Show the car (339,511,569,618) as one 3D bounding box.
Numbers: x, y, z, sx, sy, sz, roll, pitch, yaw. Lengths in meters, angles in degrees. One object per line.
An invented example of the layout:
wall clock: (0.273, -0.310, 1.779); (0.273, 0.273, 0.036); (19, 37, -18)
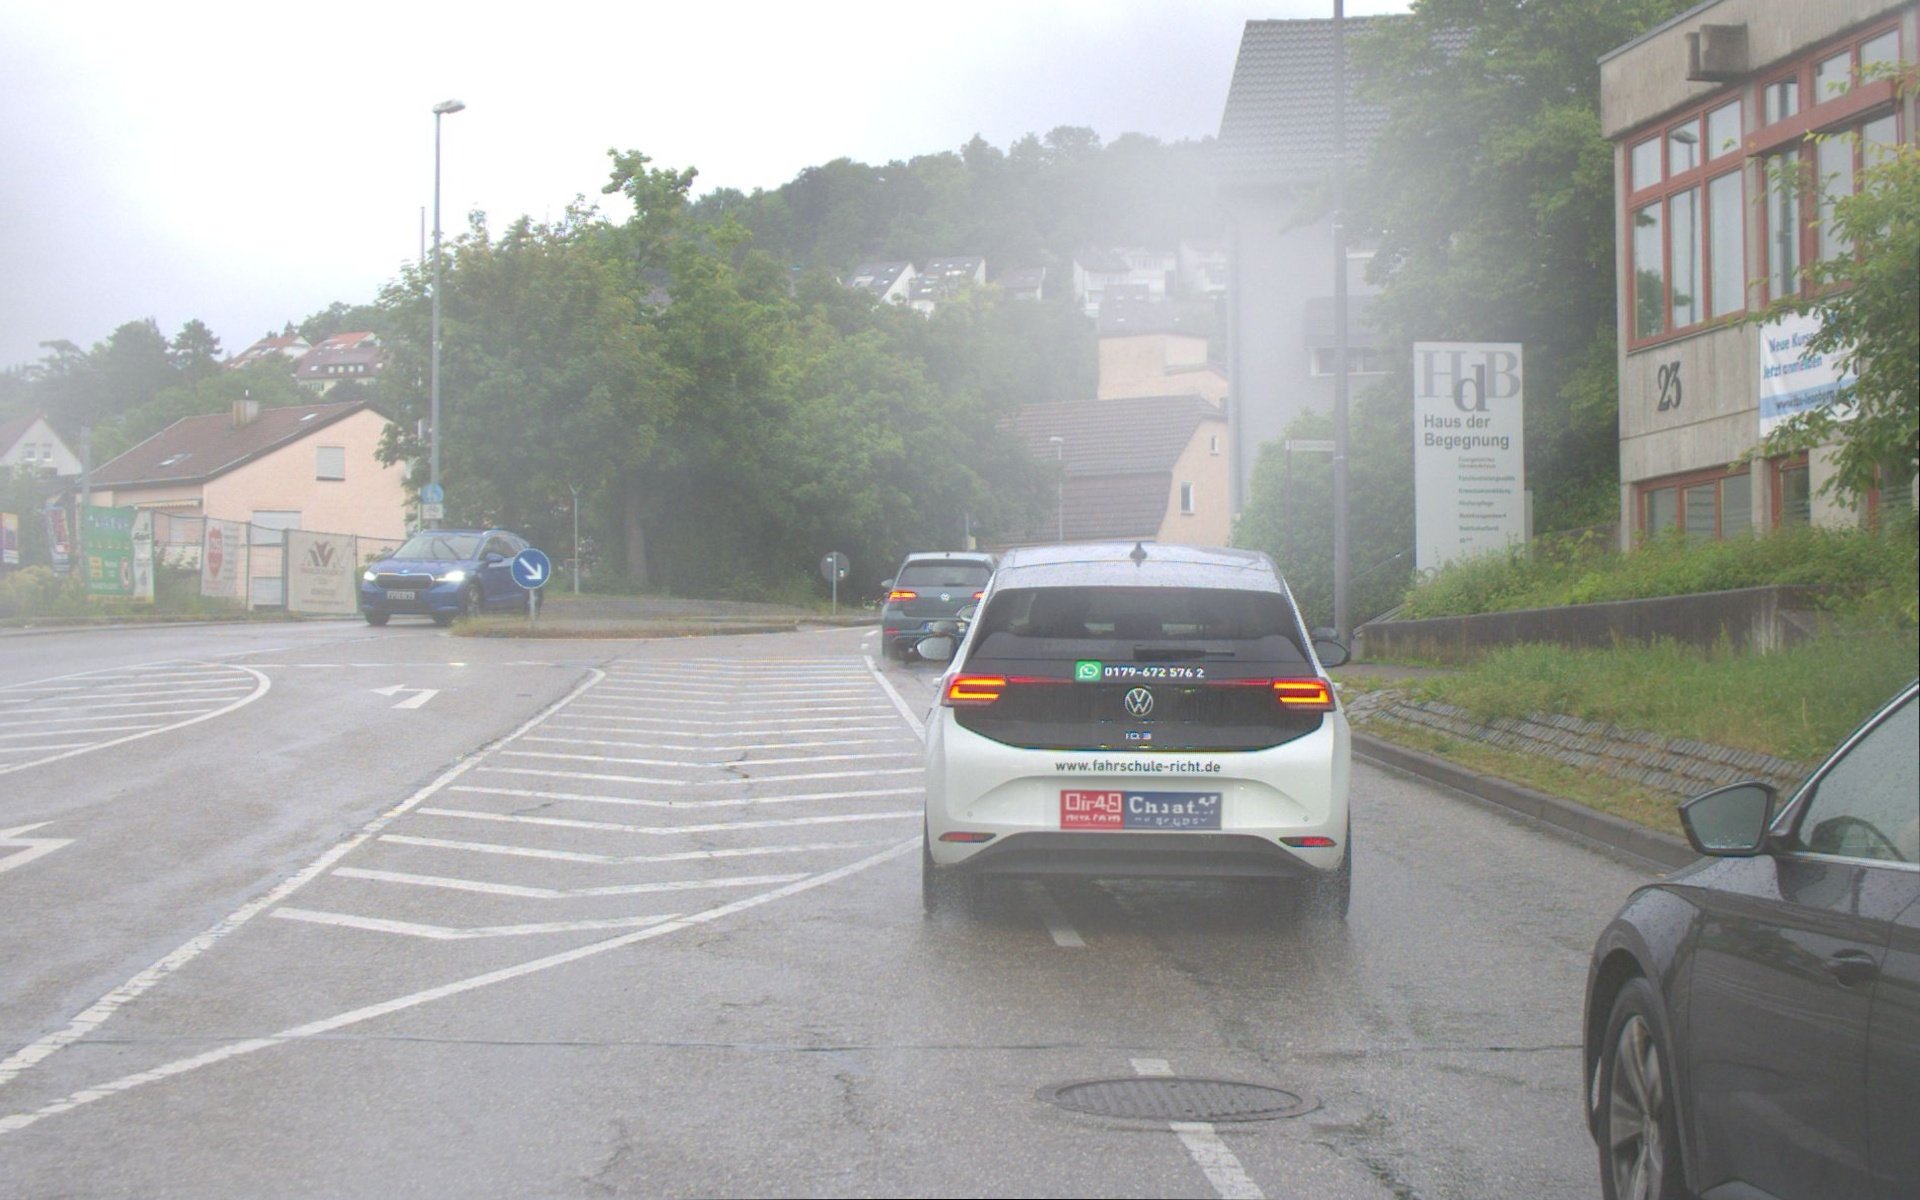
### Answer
car: (-8.495, -0.571, 58.140); (1.995, 1.687, 4.701); (1, 0, 17)

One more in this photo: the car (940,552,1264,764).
car: (0.941, 0.384, 25.092); (1.848, 1.405, 4.302); (0, 0, -5)

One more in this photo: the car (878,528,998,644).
car: (-0.327, -0.216, 47.024); (1.567, 1.525, 4.000); (0, 1, -1)

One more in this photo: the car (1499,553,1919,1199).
car: (2.352, 0.719, 5.460); (1.954, 1.502, 4.609); (2, 0, -4)

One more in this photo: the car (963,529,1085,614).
car: (1.209, -0.517, 63.307); (1.994, 1.448, 3.770); (-2, 0, 4)

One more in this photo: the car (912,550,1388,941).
car: (0.783, 0.560, 15.368); (1.828, 1.495, 4.168); (0, 0, 1)
